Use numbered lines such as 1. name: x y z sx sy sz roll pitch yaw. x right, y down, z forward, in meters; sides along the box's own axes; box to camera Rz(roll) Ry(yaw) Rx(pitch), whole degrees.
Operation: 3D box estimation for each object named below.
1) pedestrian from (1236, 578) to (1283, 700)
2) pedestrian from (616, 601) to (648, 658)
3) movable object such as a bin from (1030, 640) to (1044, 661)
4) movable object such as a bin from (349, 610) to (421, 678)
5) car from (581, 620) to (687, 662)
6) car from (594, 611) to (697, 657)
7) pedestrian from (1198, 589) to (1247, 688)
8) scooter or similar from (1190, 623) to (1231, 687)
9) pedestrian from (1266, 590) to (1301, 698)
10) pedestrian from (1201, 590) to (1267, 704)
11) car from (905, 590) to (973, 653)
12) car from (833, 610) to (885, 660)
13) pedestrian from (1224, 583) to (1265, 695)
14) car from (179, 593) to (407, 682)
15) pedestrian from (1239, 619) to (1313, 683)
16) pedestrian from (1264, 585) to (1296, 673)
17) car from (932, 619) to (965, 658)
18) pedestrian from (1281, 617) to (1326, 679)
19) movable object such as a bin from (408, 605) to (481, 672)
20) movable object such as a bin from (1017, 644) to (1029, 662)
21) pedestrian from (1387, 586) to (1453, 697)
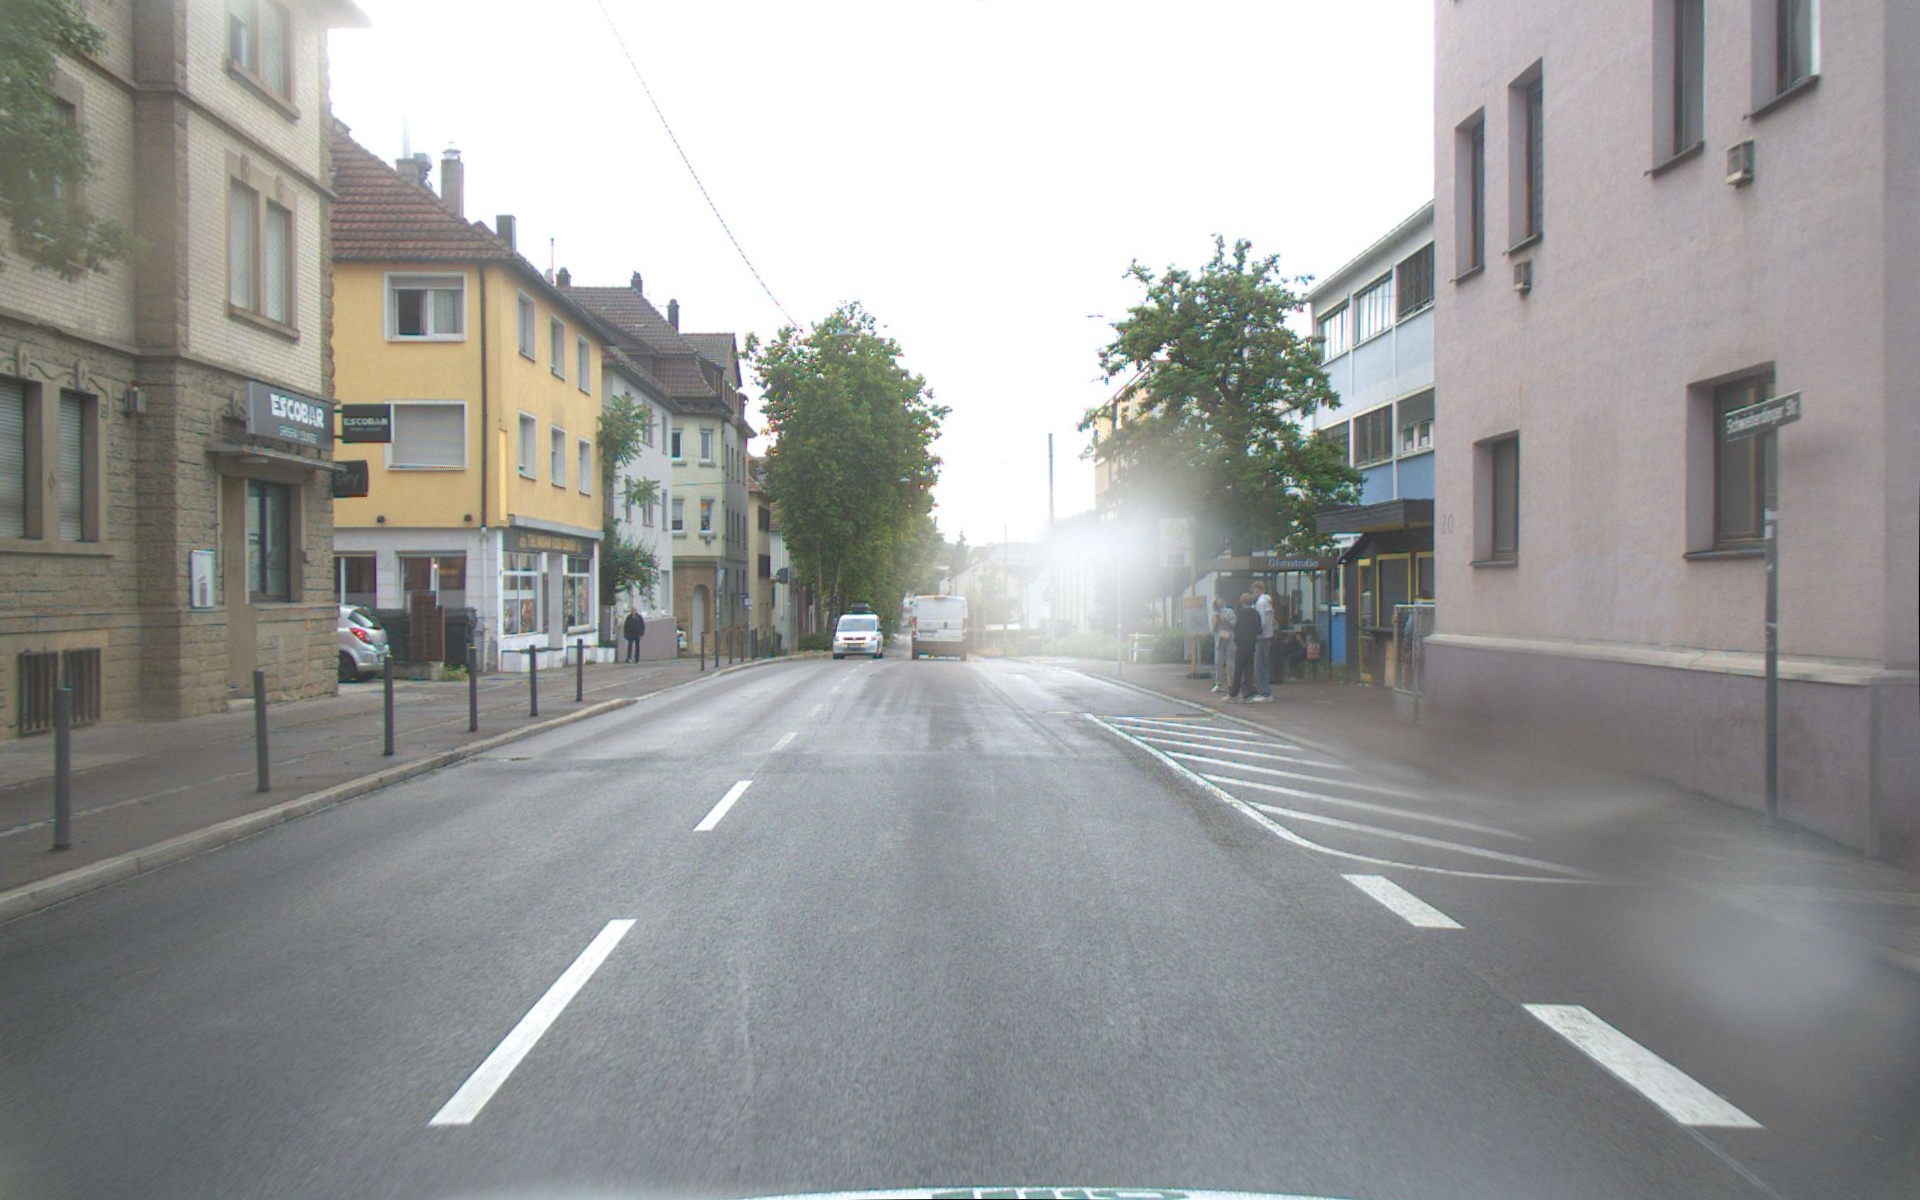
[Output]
1. pedestrian: 4.797 0.621 26.459 0.477 1.908 0.631 -3 -1 32
2. pedestrian: -9.978 0.905 50.340 0.799 1.709 0.992 1 -2 -4
3. movable object such as a bin: 4.237 2.778 91.028 0.681 1.101 0.778 -3 -2 -1
4. movable object such as a bin: -12.598 0.953 36.259 1.221 1.465 0.983 1 -1 -2
5. car: -13.330 1.674 67.767 3.907 1.478 1.999 4 -1 -2
6. car: -13.902 1.501 73.260 4.098 1.734 1.999 4 -1 -1
7. pedestrian: 4.766 0.691 30.090 0.647 1.772 0.828 -1 -1 -7
8. scooter or similar: 4.662 1.016 30.793 0.606 1.160 0.567 -1 -1 -7
9. pedestrian: 5.283 0.708 26.969 0.437 1.738 0.557 -3 -1 17
10. pedestrian: 4.298 0.736 25.960 0.629 1.740 0.740 -2 -1 -35
11. car: -0.818 0.745 60.404 2.300 2.198 4.774 0 0 -3
12. car: -4.008 1.395 66.127 1.843 1.903 4.451 0 -1 -1
13. pedestrian: 4.842 0.664 28.163 0.450 1.873 0.604 -2 -1 -6
14. car: -12.568 0.696 31.359 3.494 1.512 1.946 2 -1 -3
15. pedestrian: 6.577 1.051 34.444 1.329 1.295 0.740 -1 -1 -7
16. pedestrian: 6.920 0.626 35.770 0.633 1.863 0.742 -1 -1 13
17. car: -0.666 2.090 90.968 1.759 2.049 3.999 0 0 -1
18. pedestrian: 6.837 0.947 32.918 0.647 1.220 0.740 -1 -1 -7
19. movable object such as a bin: -11.304 0.832 36.322 1.275 1.427 0.983 1 -1 -2
20. movable object such as a bin: 3.473 2.891 90.847 0.607 0.953 0.686 -3 -2 -1
21. pedestrian: 7.042 0.635 25.319 0.666 1.654 0.618 -2 -1 -30
